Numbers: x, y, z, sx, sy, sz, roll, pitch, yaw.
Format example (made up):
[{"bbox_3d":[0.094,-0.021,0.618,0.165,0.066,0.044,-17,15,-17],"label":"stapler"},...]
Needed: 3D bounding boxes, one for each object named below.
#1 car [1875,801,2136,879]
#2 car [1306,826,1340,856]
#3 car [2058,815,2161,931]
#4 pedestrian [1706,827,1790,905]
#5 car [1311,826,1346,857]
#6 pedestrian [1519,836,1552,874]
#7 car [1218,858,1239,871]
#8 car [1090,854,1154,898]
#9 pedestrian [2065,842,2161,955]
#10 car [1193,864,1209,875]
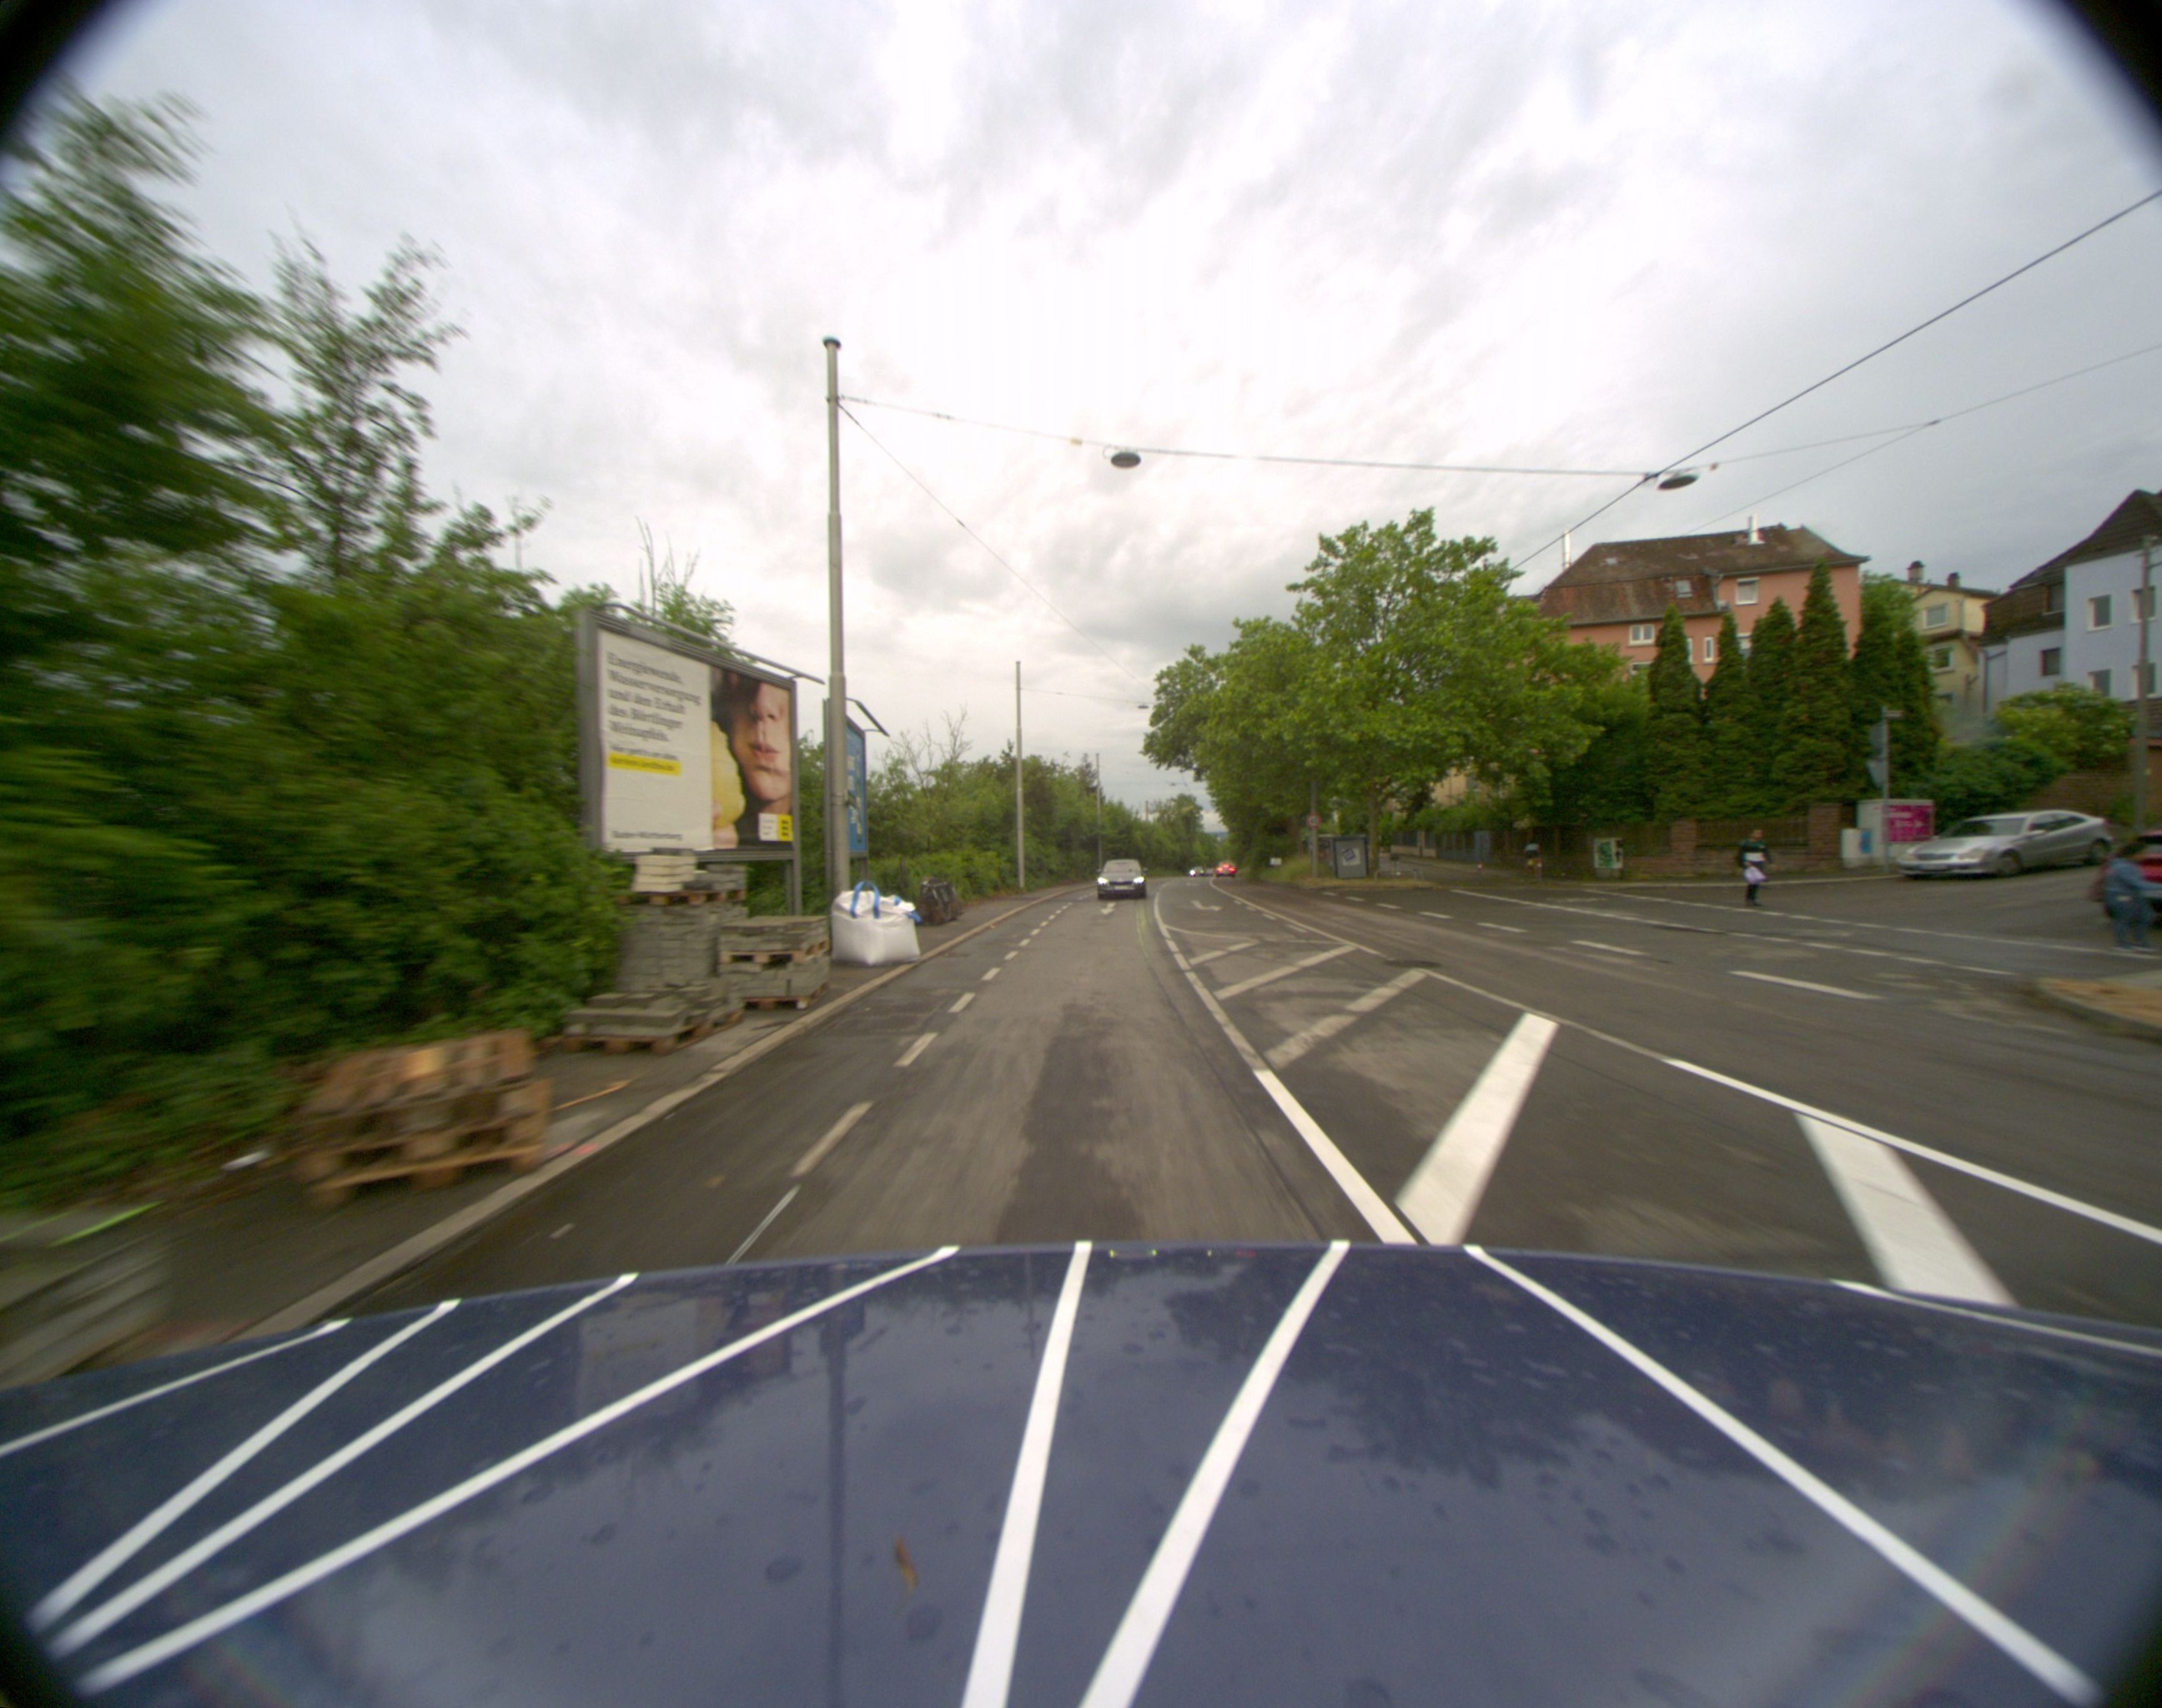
[{"bbox_3d":[21.640,-0.314,17.878,4.266,1.377,1.886,-5,0,-8],"label":"car"},{"bbox_3d":[17.579,-0.894,55.459,1.996,2.001,4.633,-3,-1,14],"label":"car"},{"bbox_3d":[17.611,0.140,11.395,4.547,1.564,1.935,-5,-1,-15],"label":"car"},{"bbox_3d":[14.499,0.265,16.542,0.890,1.620,0.994,-2,-1,-19],"label":"pedestrian"},{"bbox_3d":[16.277,-0.774,50.182,1.833,1.832,4.633,-3,-1,14],"label":"car"},{"bbox_3d":[16.780,0.034,28.044,0.792,1.346,0.792,-3,-1,14],"label":"pedestrian"},{"bbox_3d":[15.750,1.128,81.399,2.075,1.344,4.717,-3,-1,9],"label":"car"},{"bbox_3d":[1.645,0.834,29.092,1.979,1.496,4.004,-3,-1,9],"label":"car"},{"bbox_3d":[13.568,0.556,9.848,0.783,1.393,0.806,-2,-1,-26],"label":"pedestrian"},{"bbox_3d":[16.373,2.081,103.718,1.997,1.433,4.004,-3,-1,9],"label":"car"}]
